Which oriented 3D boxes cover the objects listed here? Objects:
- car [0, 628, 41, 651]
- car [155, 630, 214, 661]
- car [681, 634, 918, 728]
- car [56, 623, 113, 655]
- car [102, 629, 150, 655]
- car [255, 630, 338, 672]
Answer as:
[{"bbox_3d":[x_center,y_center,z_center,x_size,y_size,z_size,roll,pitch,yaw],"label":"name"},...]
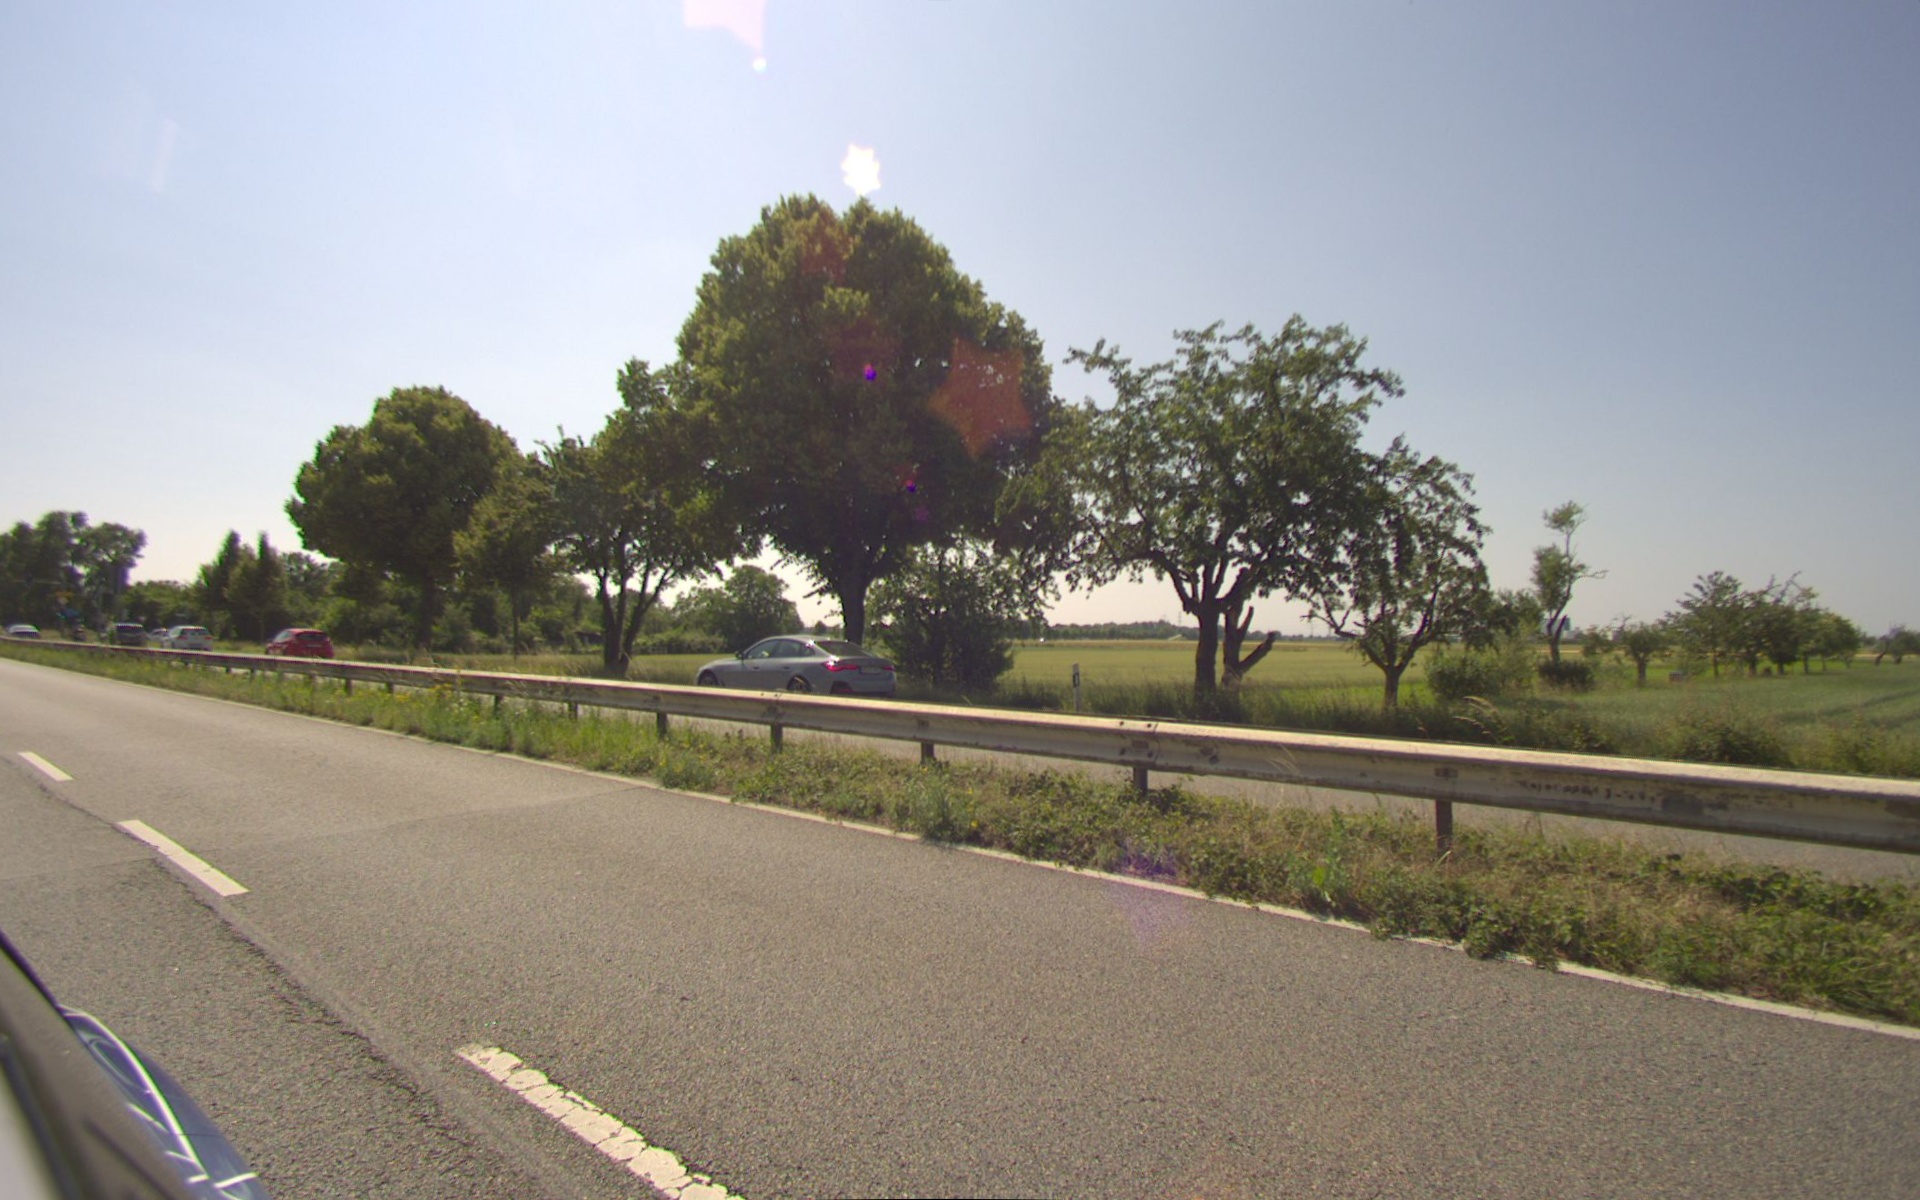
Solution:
[{"bbox_3d":[-68.101,2.837,73.354,3.748,1.603,1.742,-1,-3,41],"label":"car"},{"bbox_3d":[-41.932,2.454,54.688,3.892,1.603,1.742,-1,-3,41],"label":"car"},{"bbox_3d":[-3.241,1.482,19.800,4.864,1.603,1.934,-1,-3,42],"label":"car"},{"bbox_3d":[-46.412,2.052,53.630,3.748,1.603,1.742,-1,-3,41],"label":"car"},{"bbox_3d":[-53.948,2.687,65.456,3.892,1.603,1.742,-1,-3,41],"label":"car"},{"bbox_3d":[-26.805,2.046,40.845,3.892,1.603,1.742,-1,-3,41],"label":"car"}]
